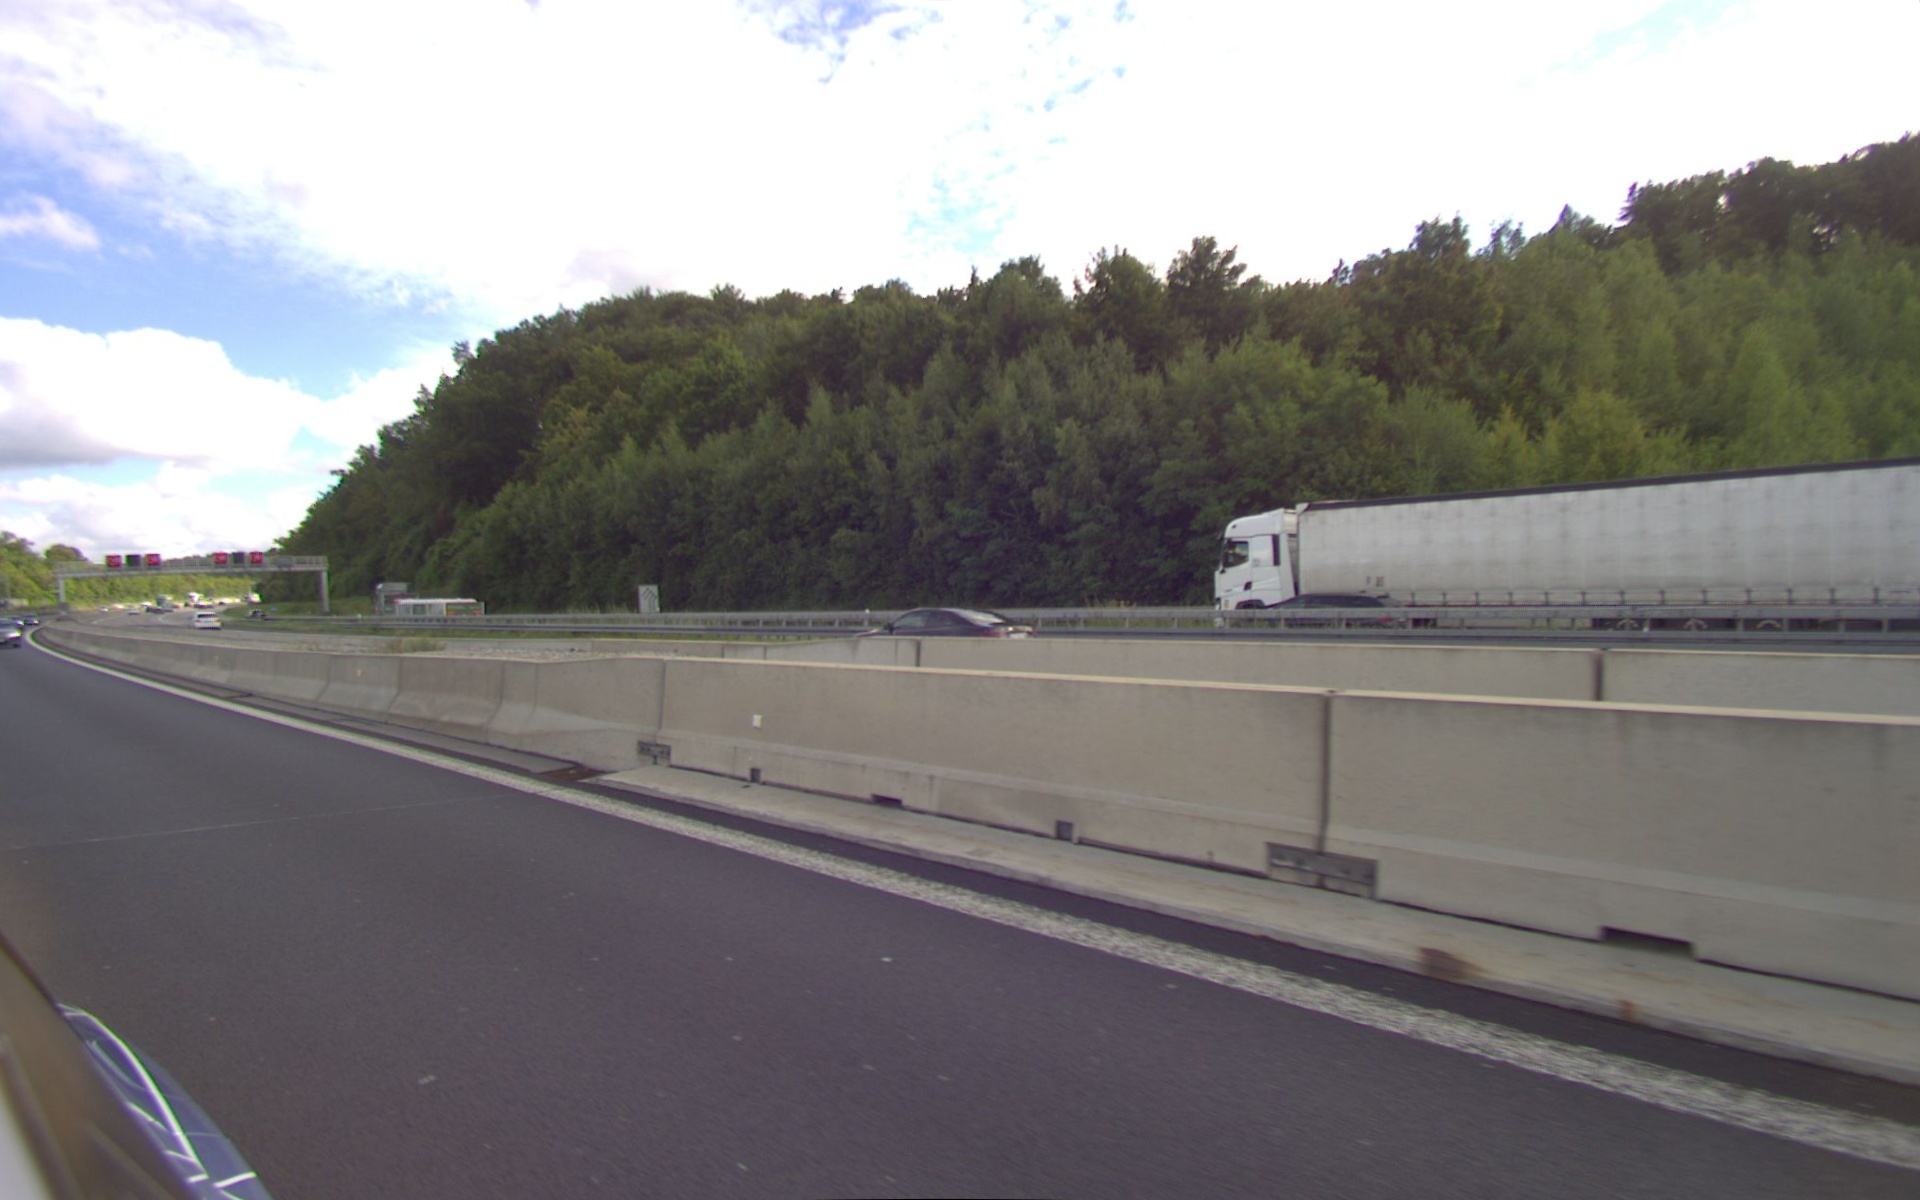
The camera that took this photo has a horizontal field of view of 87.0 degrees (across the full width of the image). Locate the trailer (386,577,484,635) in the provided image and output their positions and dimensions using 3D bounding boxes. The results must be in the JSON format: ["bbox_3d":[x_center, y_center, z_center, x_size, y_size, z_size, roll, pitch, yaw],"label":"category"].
[{"bbox_3d":[-37.700,0.443,72.342,2.780,3.835,12.196,-1,0,-44],"label":"trailer"}]

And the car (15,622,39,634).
[{"bbox_3d":[-117.234,3.517,127.228,1.968,1.484,4.007,-1,0,-39],"label":"car"}]

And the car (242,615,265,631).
[{"bbox_3d":[-96.227,3.106,137.818,1.970,2.029,4.004,-1,0,-43],"label":"car"}]

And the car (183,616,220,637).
[{"bbox_3d":[-61.298,2.107,81.729,4.769,1.539,1.693,0,1,45],"label":"car"}]

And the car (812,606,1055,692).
[{"bbox_3d":[-0.671,0.887,20.460,5.123,1.458,1.854,0,1,44],"label":"car"}]

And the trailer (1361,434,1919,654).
[{"bbox_3d":[16.398,-1.128,24.453,12.139,4.325,3.286,0,1,42],"label":"trailer"}]

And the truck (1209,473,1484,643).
[{"bbox_3d":[11.071,-1.099,29.346,6.747,4.325,3.285,0,1,42],"label":"truck"}]

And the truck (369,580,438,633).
[{"bbox_3d":[-42.563,0.506,77.313,2.777,3.855,7.133,-1,0,-45],"label":"truck"}]

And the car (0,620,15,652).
[{"bbox_3d":[-47.995,1.777,50.125,1.638,1.484,4.005,-1,0,-42],"label":"car"}]
